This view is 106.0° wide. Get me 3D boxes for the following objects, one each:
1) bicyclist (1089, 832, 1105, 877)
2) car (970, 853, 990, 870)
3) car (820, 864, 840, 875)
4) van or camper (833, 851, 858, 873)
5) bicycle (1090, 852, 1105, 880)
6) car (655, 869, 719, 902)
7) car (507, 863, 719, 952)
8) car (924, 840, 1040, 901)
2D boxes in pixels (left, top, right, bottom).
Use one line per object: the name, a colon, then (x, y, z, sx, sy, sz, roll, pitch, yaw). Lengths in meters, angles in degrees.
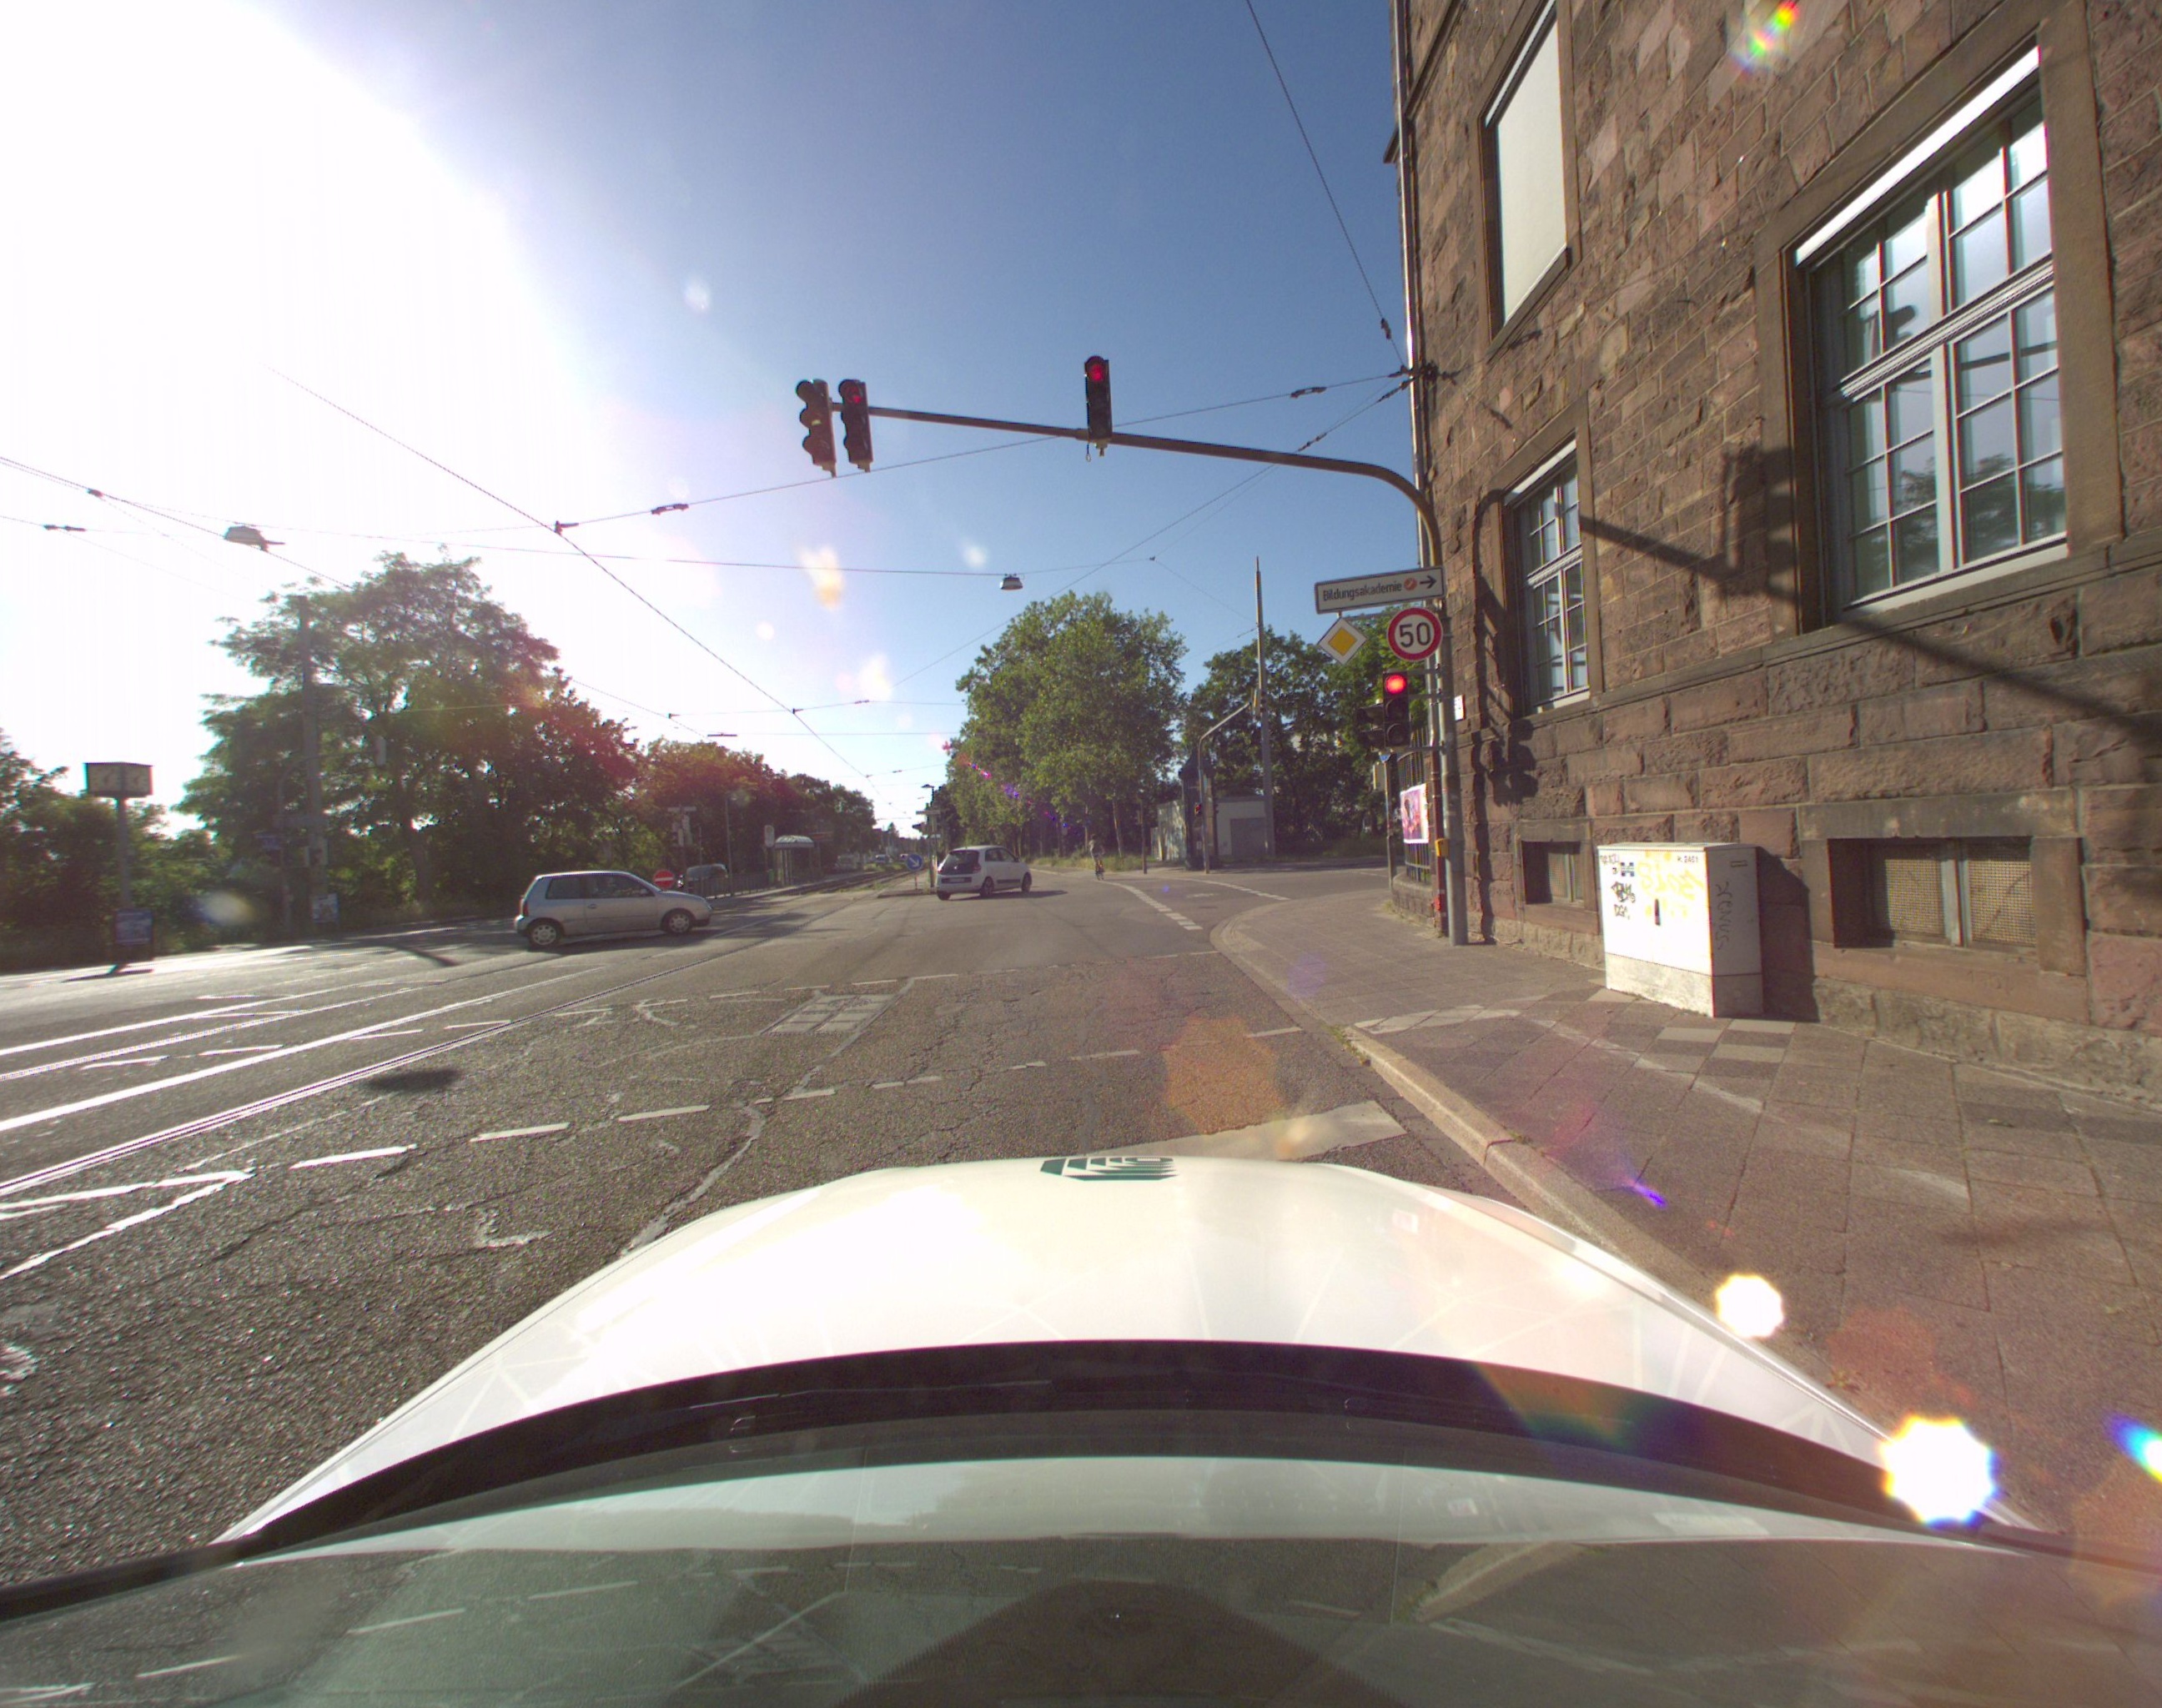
bicyclist: (0.641, 0.013, 32.783, 0.532, 1.769, 0.713, -3, 0, 0)
car: (-9.959, 0.715, 80.239, 1.750, 1.604, 3.569, -4, 1, -9)
car: (-34.398, 2.130, 111.706, 1.919, 1.266, 3.991, -4, 0, -7)
van or camper: (-35.844, 1.237, 124.212, 2.589, 3.106, 6.768, -4, 0, -9)
bicycle: (0.673, 0.475, 32.706, 0.534, 1.066, 1.434, -4, 0, 2)
car: (-23.431, 1.825, 48.633, 1.993, 1.767, 5.014, -4, 0, -9)
car: (-9.599, 1.027, 16.853, 3.569, 1.486, 1.854, -3, 0, -33)
car: (-2.951, 0.467, 25.032, 1.734, 1.604, 3.772, -3, 1, 25)
